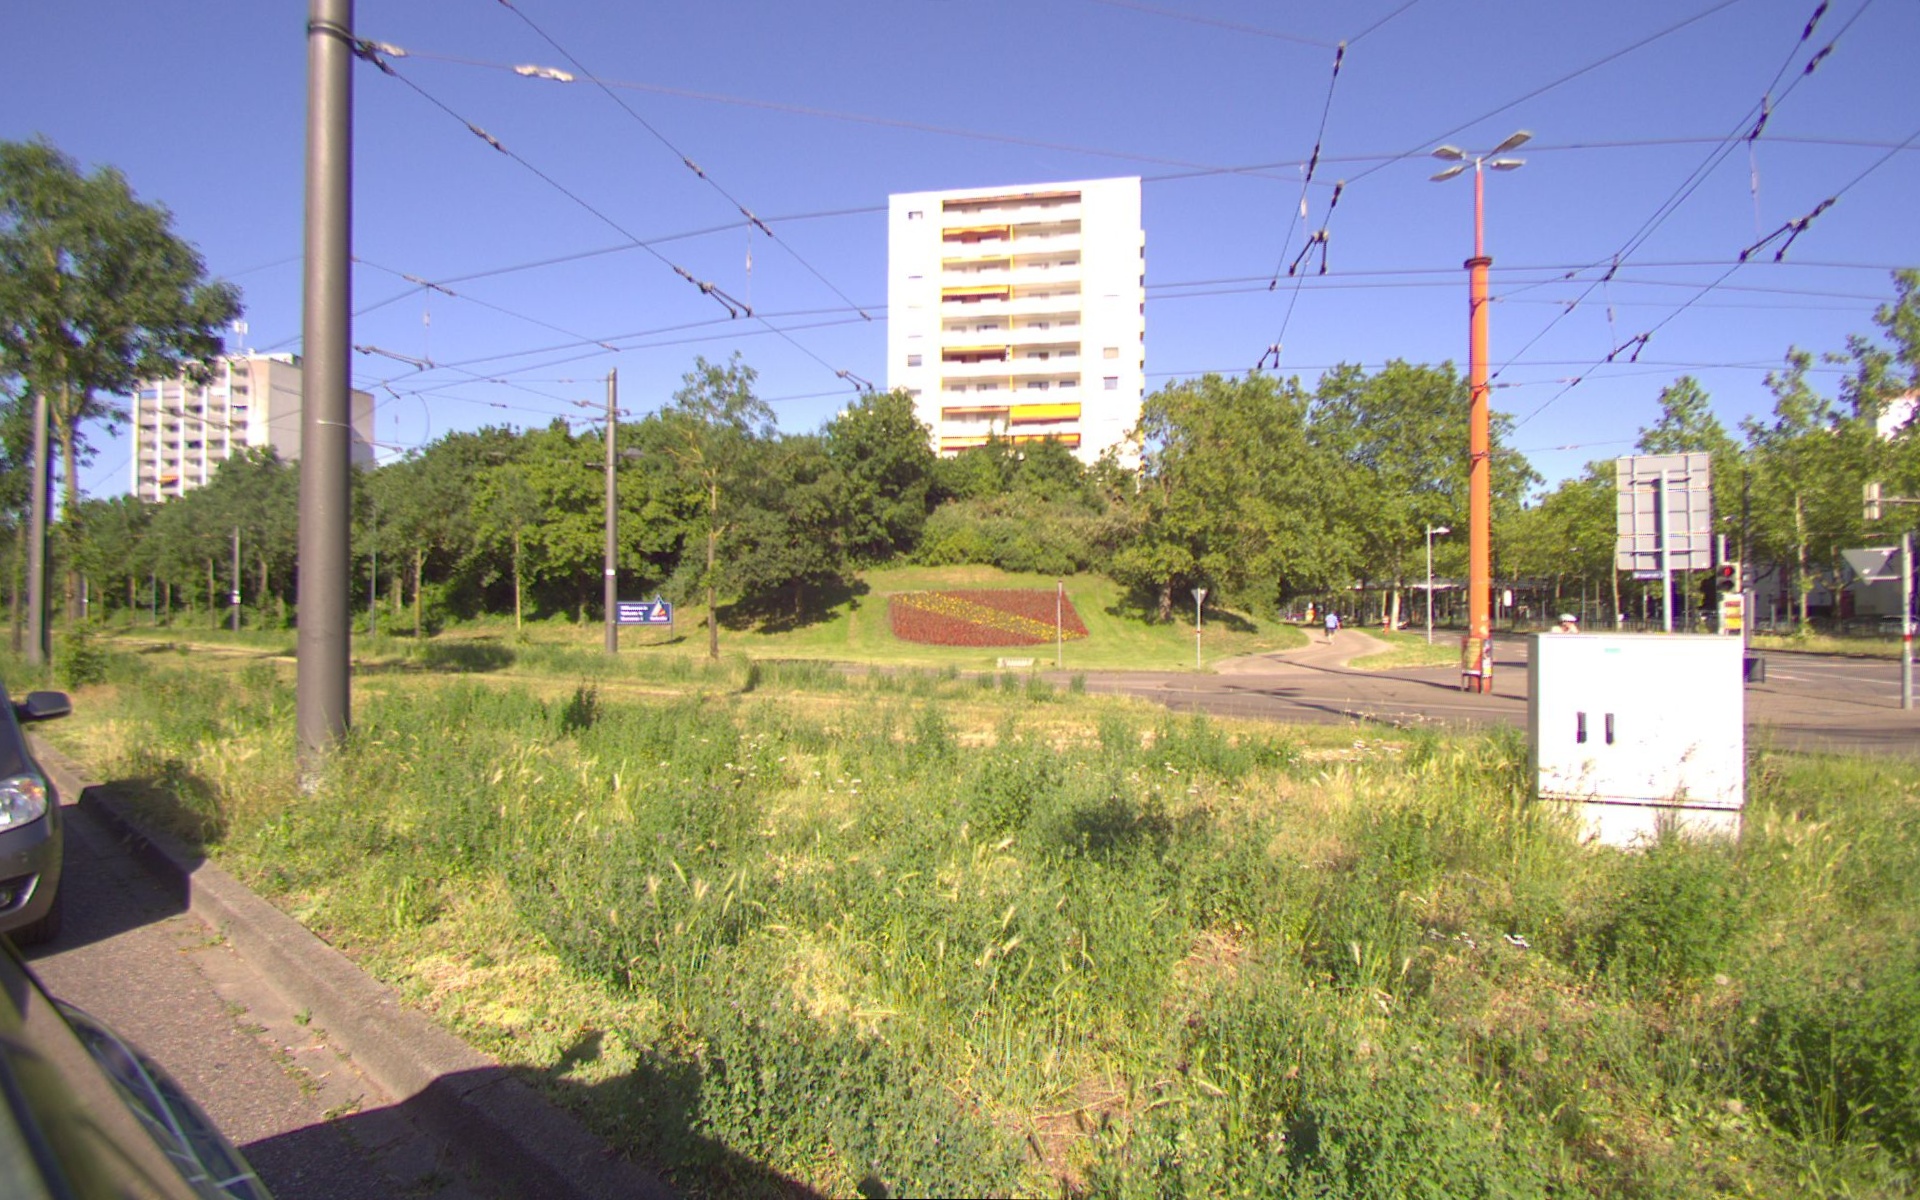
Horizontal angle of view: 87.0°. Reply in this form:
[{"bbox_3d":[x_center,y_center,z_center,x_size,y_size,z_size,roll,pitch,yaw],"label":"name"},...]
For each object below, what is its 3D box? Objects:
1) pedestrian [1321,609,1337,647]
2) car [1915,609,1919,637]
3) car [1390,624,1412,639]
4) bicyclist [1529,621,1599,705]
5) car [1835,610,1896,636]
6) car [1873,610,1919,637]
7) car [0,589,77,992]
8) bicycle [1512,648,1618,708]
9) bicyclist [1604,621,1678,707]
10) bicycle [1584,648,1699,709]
[{"bbox_3d":[18.908,1.436,51.868,0.729,1.949,0.726,-1,-2,24],"label":"pedestrian"},{"bbox_3d":[64.408,1.492,65.895,3.931,1.829,2.006,0,-2,-27],"label":"car"},{"bbox_3d":[48.468,3.423,111.395,1.928,1.606,3.882,-1,-1,20],"label":"car"},{"bbox_3d":[12.098,1.250,20.292,0.920,1.650,0.741,0,-1,-1],"label":"bicyclist"},{"bbox_3d":[66.018,1.685,73.754,3.931,1.829,2.006,0,-2,-27],"label":"car"},{"bbox_3d":[65.250,1.629,69.857,3.931,1.829,2.006,0,-2,-27],"label":"car"},{"bbox_3d":[-5.938,0.792,5.033,4.382,1.619,1.754,-1,-2,41],"label":"car"},{"bbox_3d":[12.094,1.528,20.309,0.915,1.095,1.888,0,-1,-2],"label":"bicycle"},{"bbox_3d":[13.356,1.233,19.874,0.920,1.650,0.741,0,-1,-1],"label":"bicyclist"},{"bbox_3d":[13.359,1.513,19.907,0.915,1.095,1.888,0,-1,-2],"label":"bicycle"}]
